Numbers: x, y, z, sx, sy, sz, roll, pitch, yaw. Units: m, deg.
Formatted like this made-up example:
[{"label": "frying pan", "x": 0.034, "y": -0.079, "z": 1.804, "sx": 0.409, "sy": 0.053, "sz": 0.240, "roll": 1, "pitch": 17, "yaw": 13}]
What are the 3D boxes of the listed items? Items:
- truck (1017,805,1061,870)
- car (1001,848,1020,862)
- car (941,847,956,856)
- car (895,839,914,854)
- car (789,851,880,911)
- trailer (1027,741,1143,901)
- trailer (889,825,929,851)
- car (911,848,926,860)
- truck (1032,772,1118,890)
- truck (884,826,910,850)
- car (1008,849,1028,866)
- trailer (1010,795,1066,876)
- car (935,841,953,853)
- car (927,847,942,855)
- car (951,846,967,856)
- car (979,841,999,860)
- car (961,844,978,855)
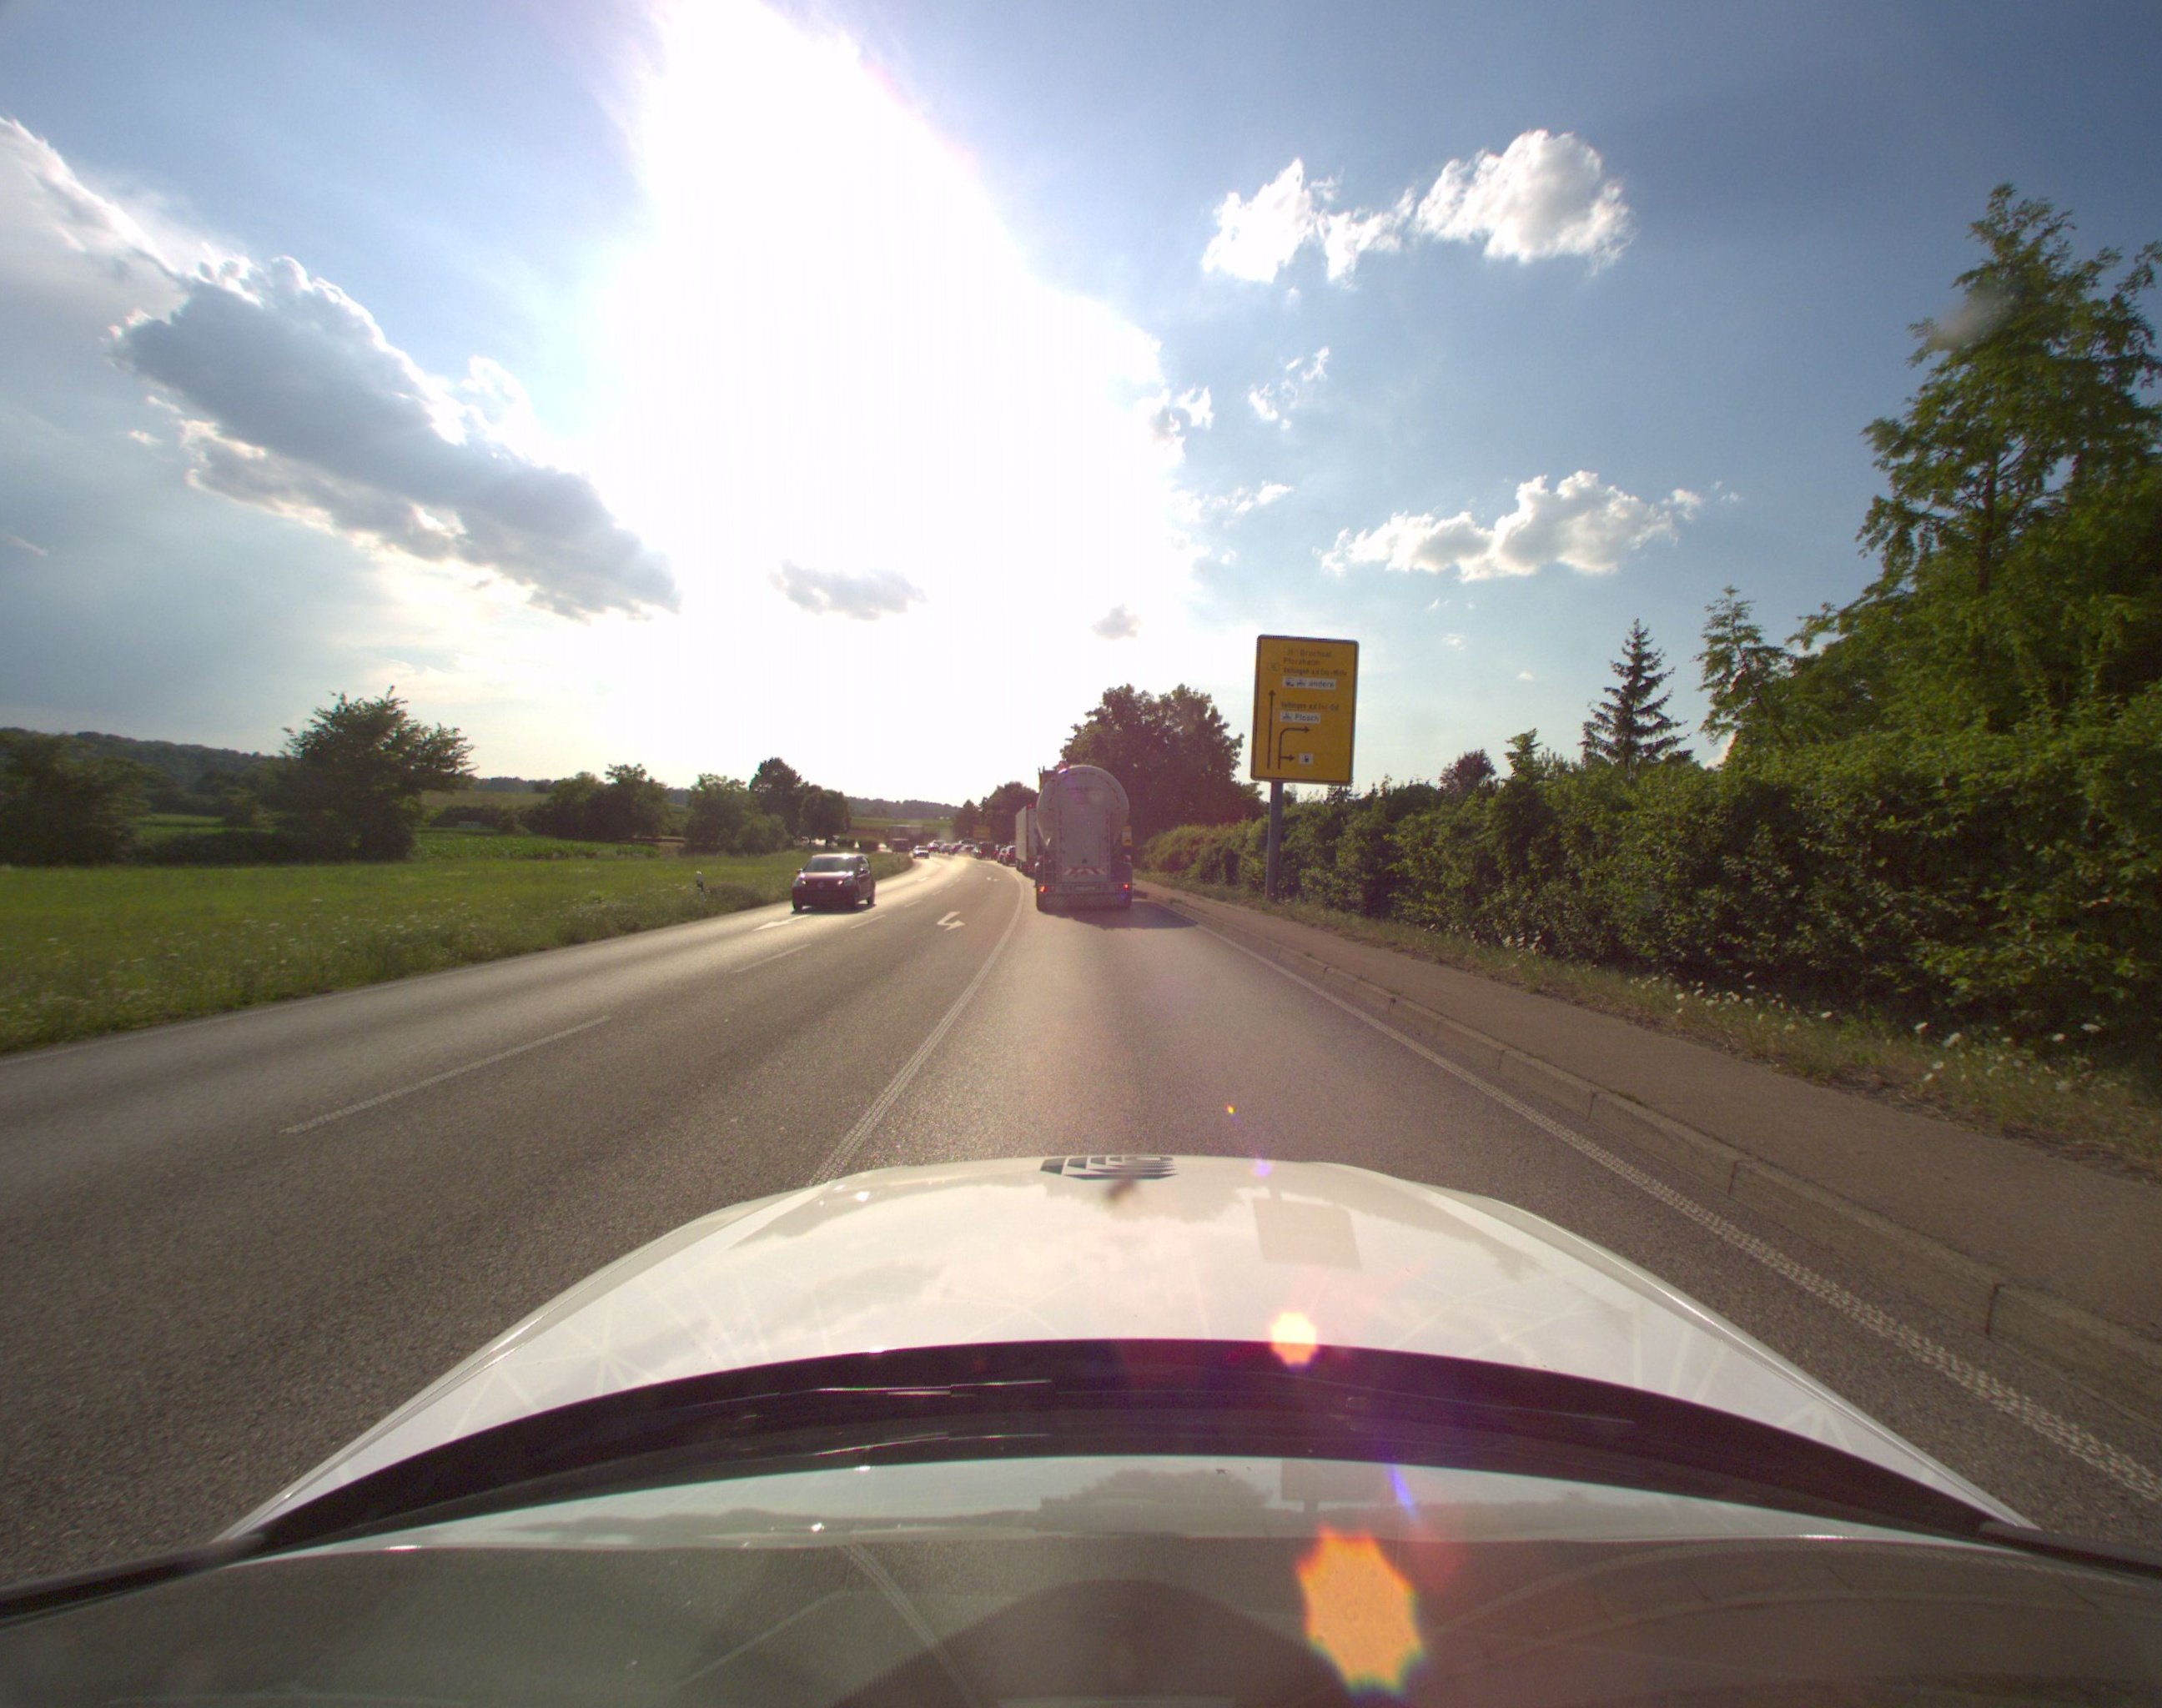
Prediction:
[{"label": "truck", "x": -2.933, "y": -1.103, "z": 57.199, "sx": 2.945, "sy": 4.303, "sz": 4.926, "roll": 1, "pitch": 0, "yaw": -3}, {"label": "car", "x": -6.734, "y": 0.080, "z": 77.543, "sx": 1.579, "sy": 1.340, "sz": 3.416, "roll": 1, "pitch": 0, "yaw": -8}, {"label": "car", "x": -19.426, "y": -0.392, "z": 119.588, "sx": 1.586, "sy": 1.340, "sz": 3.402, "roll": 1, "pitch": 0, "yaw": -20}, {"label": "car", "x": -25.002, "y": -1.018, "z": 115.107, "sx": 2.005, "sy": 2.136, "sz": 4.747, "roll": 0, "pitch": 0, "yaw": -20}, {"label": "car", "x": -6.687, "y": 0.671, "z": 22.470, "sx": 1.582, "sy": 1.466, "sz": 3.602, "roll": -1, "pitch": 0, "yaw": -4}, {"label": "trailer", "x": -0.098, "y": -0.876, "z": 25.456, "sx": 2.902, "sy": 4.006, "sz": 9.920, "roll": 0, "pitch": 0, "yaw": -3}, {"label": "trailer", "x": -30.350, "y": -2.779, "z": 143.024, "sx": 3.393, "sy": 4.350, "sz": 14.173, "roll": 1, "pitch": 0, "yaw": -26}, {"label": "car", "x": -18.991, "y": -0.011, "z": 95.123, "sx": 1.708, "sy": 1.428, "sz": 4.160, "roll": 0, "pitch": 0, "yaw": -12}, {"label": "truck", "x": -0.282, "y": -0.811, "z": 29.866, "sx": 2.903, "sy": 4.006, "sz": 4.056, "roll": 0, "pitch": 0, "yaw": -3}, {"label": "truck", "x": -33.997, "y": -2.916, "z": 150.542, "sx": 3.393, "sy": 4.350, "sz": 5.657, "roll": 1, "pitch": 0, "yaw": -26}, {"label": "car", "x": -5.387, "y": 0.308, "z": 69.107, "sx": 1.578, "sy": 1.340, "sz": 3.418, "roll": 1, "pitch": 0, "yaw": -6}, {"label": "trailer", "x": -2.632, "y": -1.056, "z": 50.700, "sx": 2.948, "sy": 4.315, "sz": 14.161, "roll": 1, "pitch": 0, "yaw": -3}, {"label": "car", "x": -23.908, "y": -1.202, "z": 141.939, "sx": 2.004, "sy": 2.013, "sz": 3.966, "roll": 0, "pitch": 2, "yaw": -26}, {"label": "car", "x": -22.687, "y": -0.442, "z": 125.816, "sx": 1.775, "sy": 1.205, "sz": 3.402, "roll": 1, "pitch": 0, "yaw": -20}, {"label": "car", "x": -16.785, "y": -0.401, "z": 111.906, "sx": 1.586, "sy": 1.340, "sz": 3.402, "roll": 1, "pitch": 0, "yaw": -20}, {"label": "car", "x": -10.387, "y": -0.404, "z": 91.767, "sx": 1.864, "sy": 2.013, "sz": 3.702, "roll": 0, "pitch": 1, "yaw": -14}, {"label": "car", "x": -14.497, "y": -0.602, "z": 105.873, "sx": 1.586, "sy": 1.340, "sz": 3.402, "roll": 1, "pitch": 0, "yaw": -20}]
